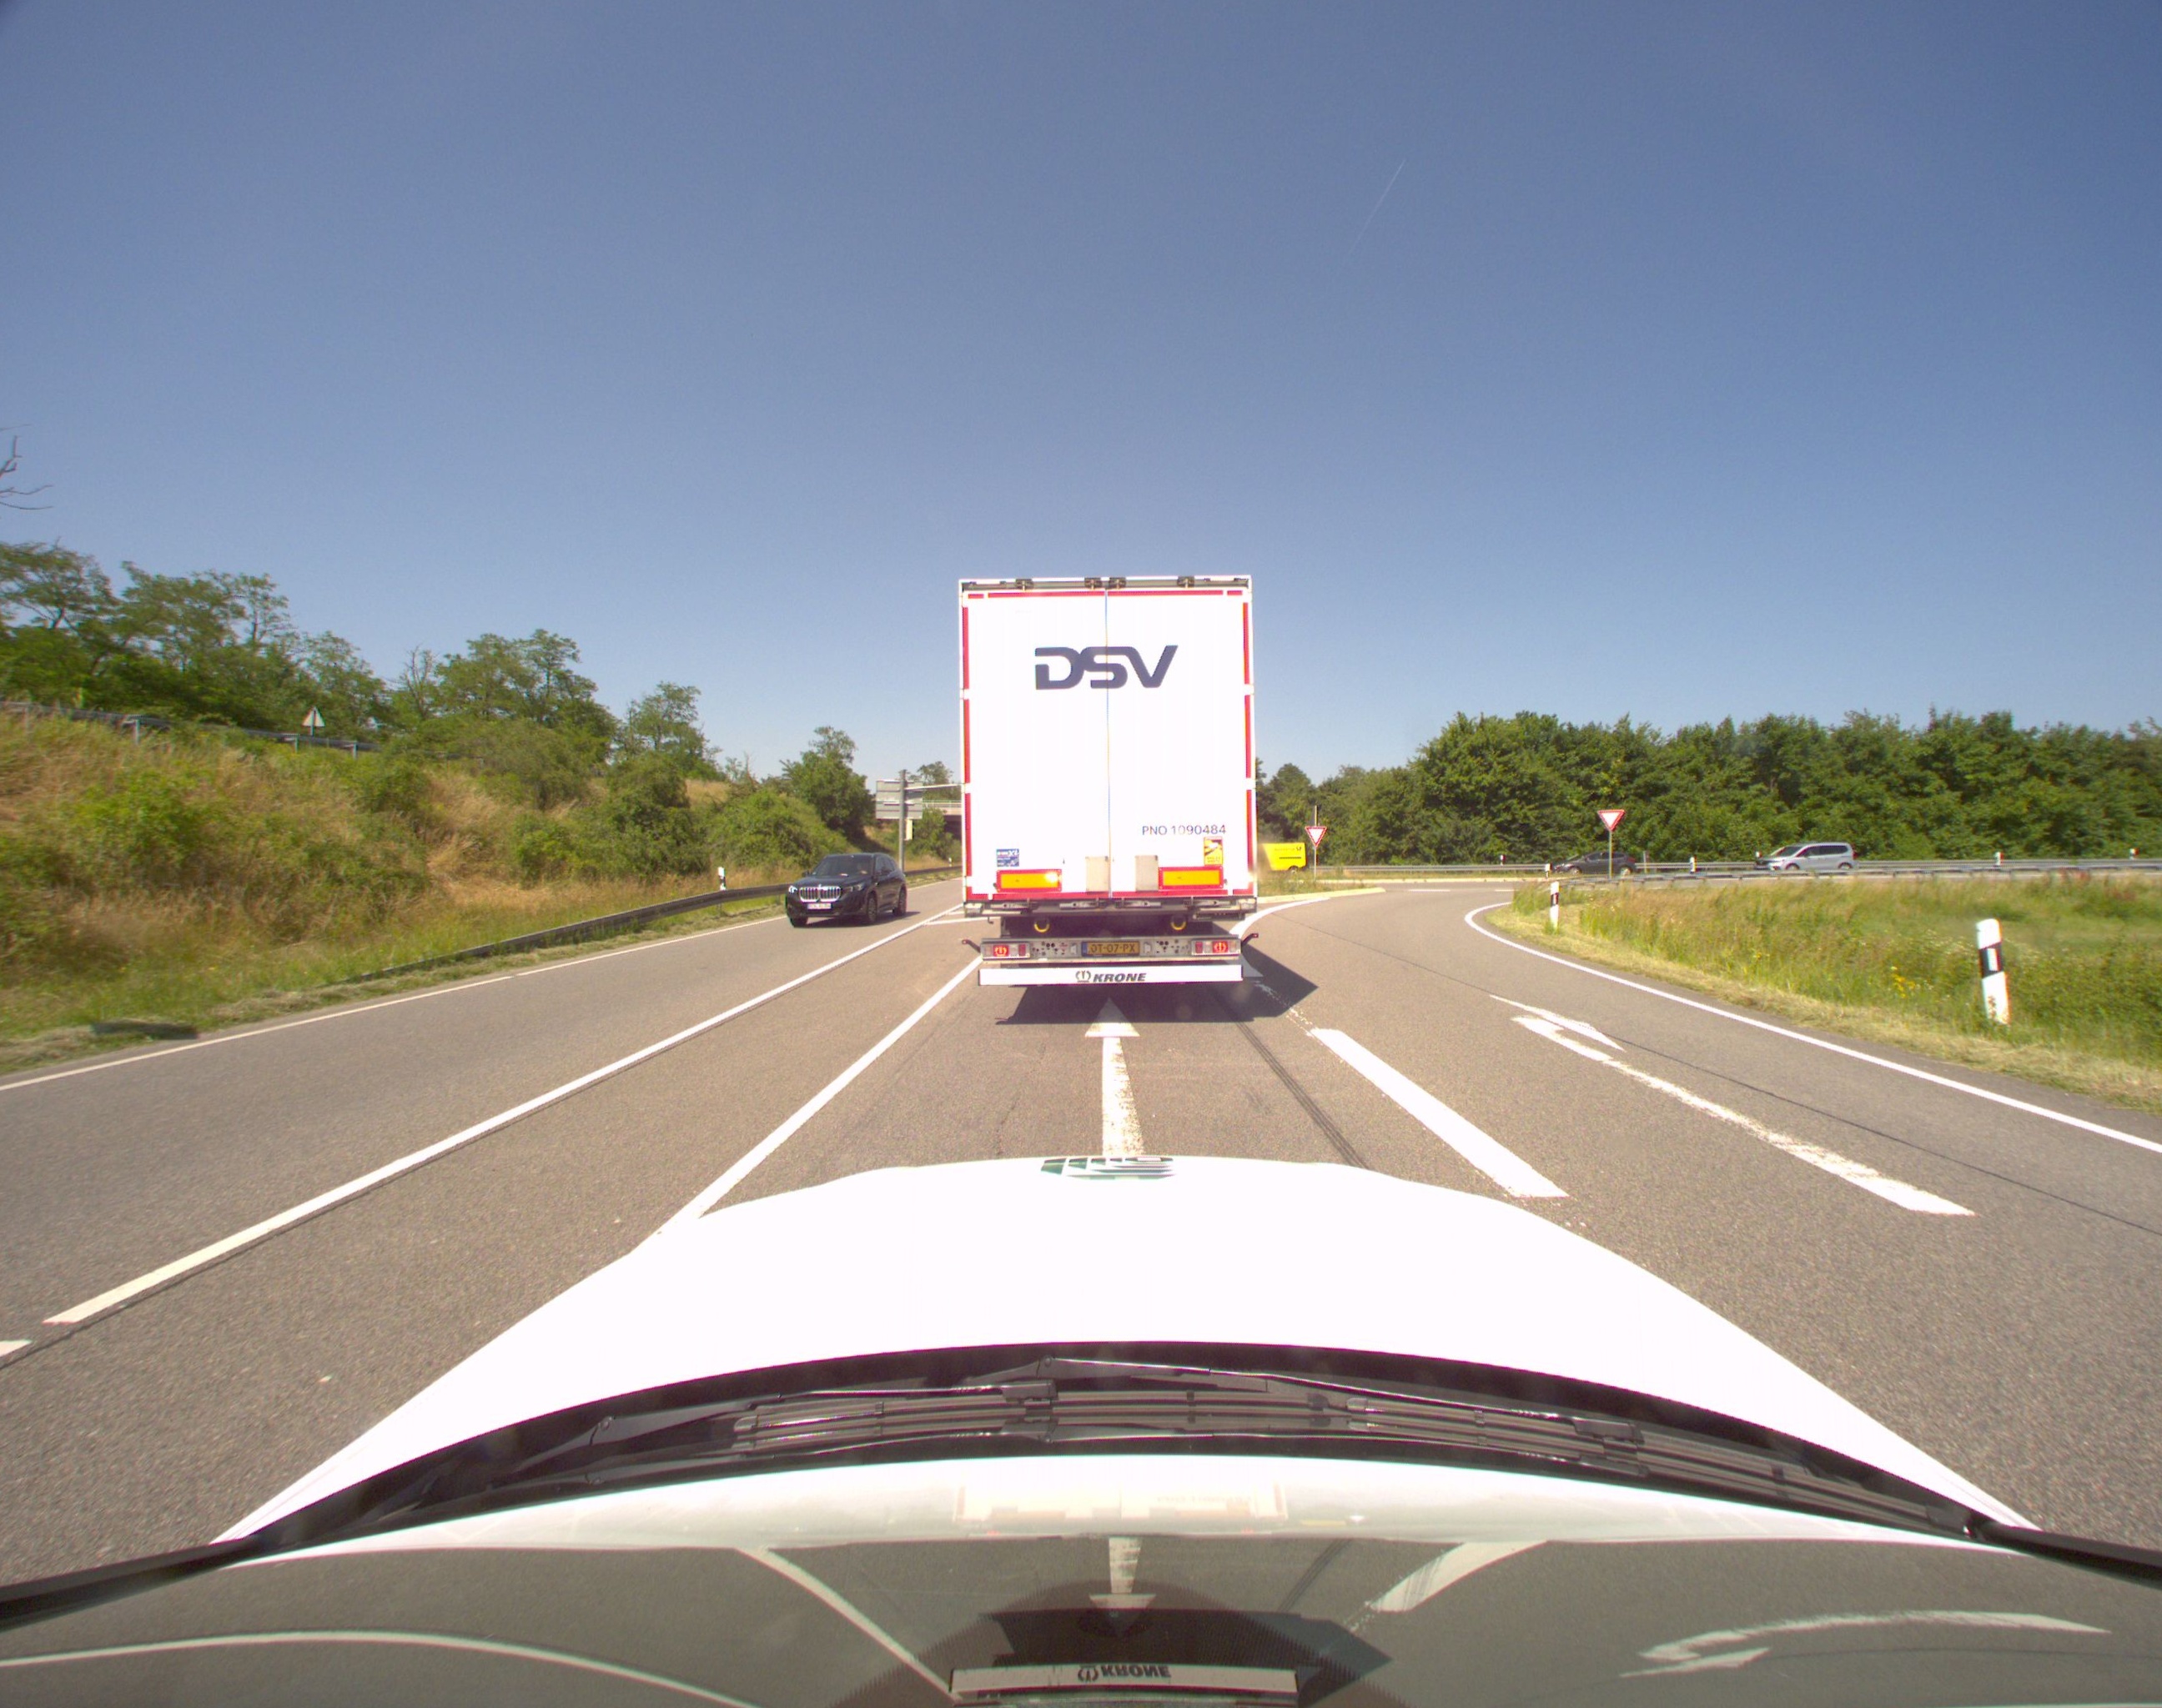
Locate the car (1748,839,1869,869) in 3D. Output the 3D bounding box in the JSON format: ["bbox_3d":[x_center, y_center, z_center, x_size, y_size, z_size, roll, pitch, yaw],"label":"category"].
[{"bbox_3d":[38.680,0.025,43.371,4.662,1.514,1.855,-1,-1,3],"label":"car"}]

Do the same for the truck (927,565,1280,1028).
[{"bbox_3d":[0.299,-0.476,11.919,2.977,3.942,9.877,-1,0,1],"label":"truck"}]

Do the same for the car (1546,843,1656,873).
[{"bbox_3d":[27.778,0.237,43.608,4.662,1.514,1.855,-1,-1,3],"label":"car"}]

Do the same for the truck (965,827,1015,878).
[{"bbox_3d":[-6.749,-0.079,61.384,2.634,3.538,7.893,-1,-1,2],"label":"truck"}]

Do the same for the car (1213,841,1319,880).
[{"bbox_3d":[9.996,0.334,44.323,5.307,2.014,1.999,-1,-1,-1],"label":"car"}]

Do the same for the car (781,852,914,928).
[{"bbox_3d":[-5.456,0.767,19.661,1.755,1.598,4.503,-1,0,2],"label":"car"}]
